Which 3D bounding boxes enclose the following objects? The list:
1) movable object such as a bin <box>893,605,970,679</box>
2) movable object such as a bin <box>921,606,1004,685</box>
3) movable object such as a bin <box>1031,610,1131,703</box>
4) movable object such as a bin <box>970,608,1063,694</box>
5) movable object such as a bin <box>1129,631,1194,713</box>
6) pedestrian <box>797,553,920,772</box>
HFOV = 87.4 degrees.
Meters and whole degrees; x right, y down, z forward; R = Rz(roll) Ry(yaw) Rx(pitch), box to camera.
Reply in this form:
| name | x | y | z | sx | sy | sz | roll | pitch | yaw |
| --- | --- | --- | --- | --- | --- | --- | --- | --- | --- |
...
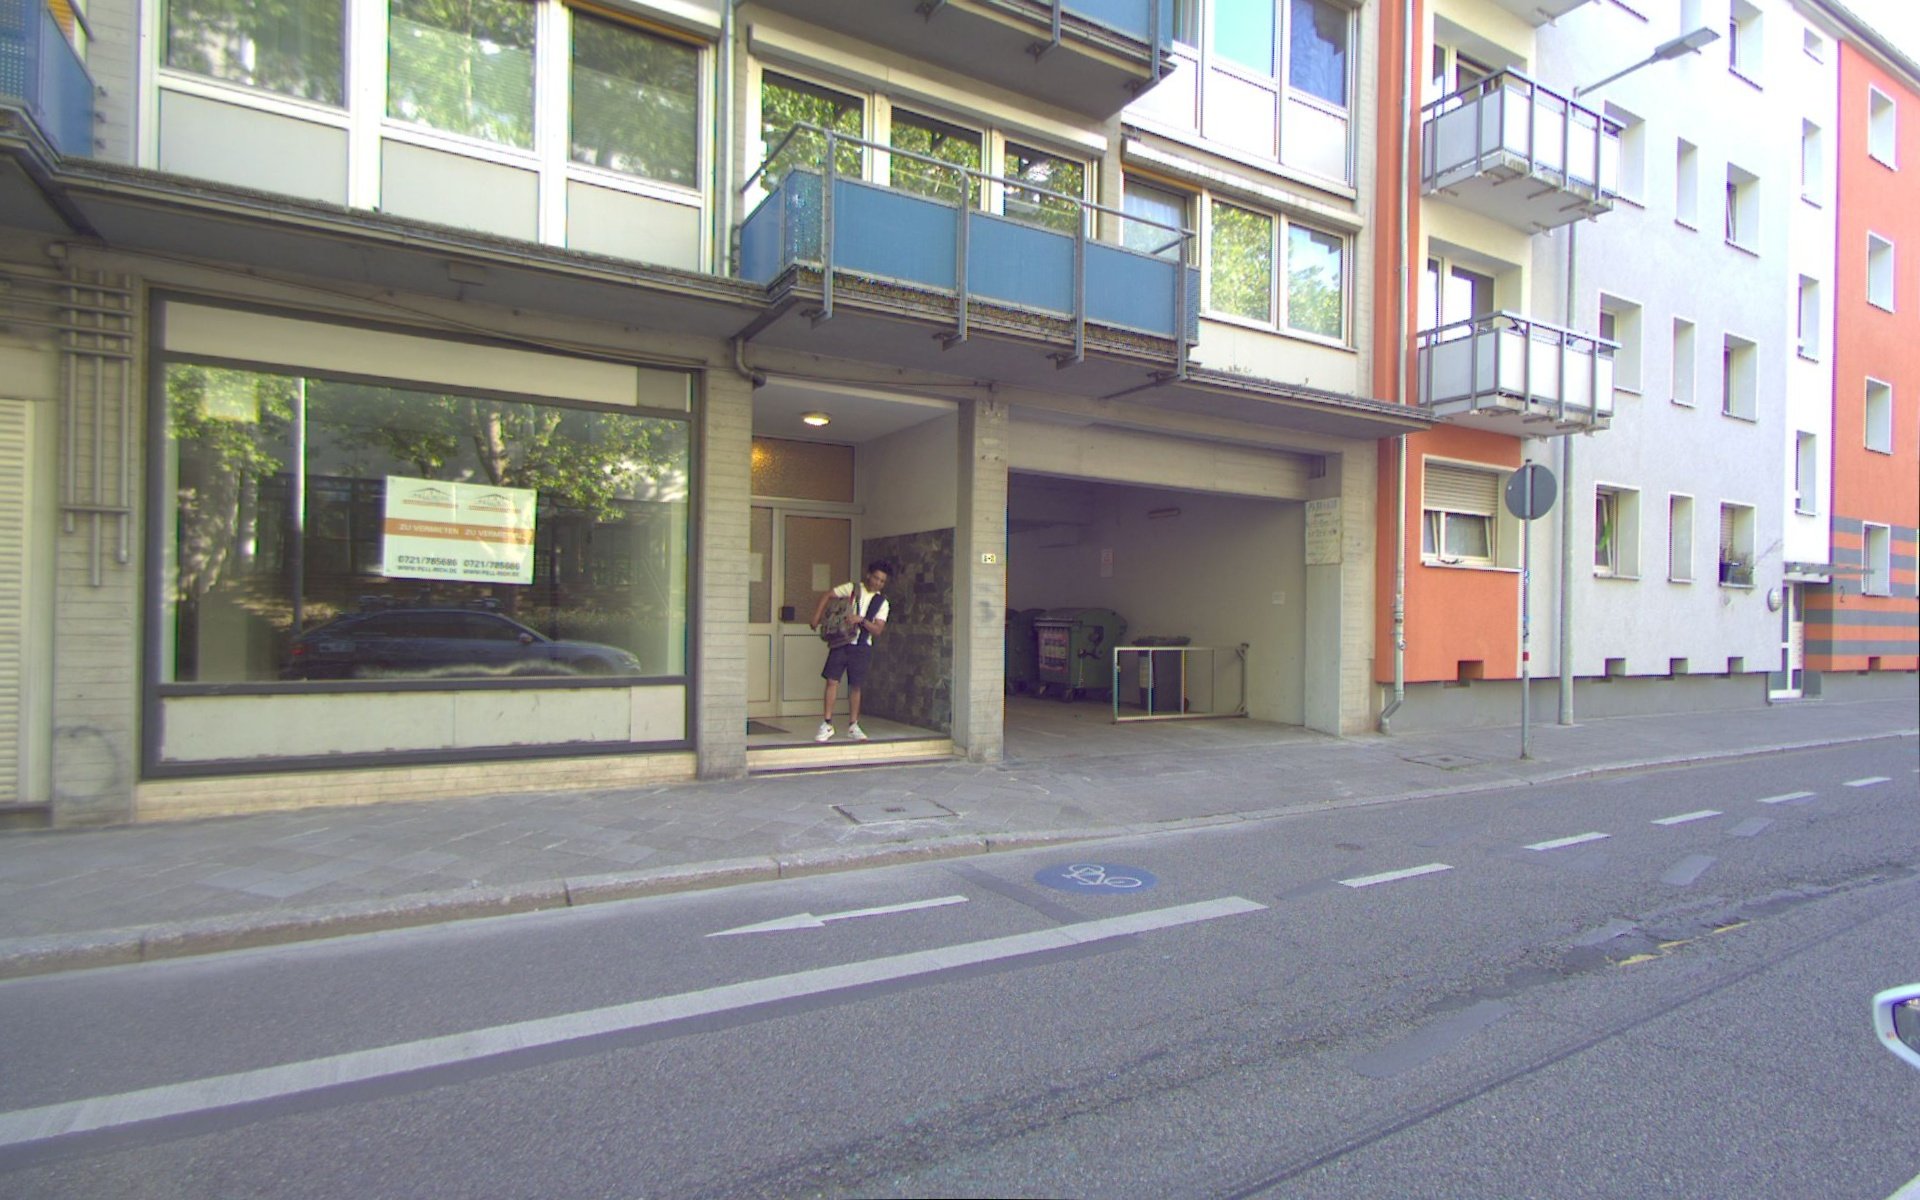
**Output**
| name | x | y | z | sx | sy | sz | roll | pitch | yaw |
| --- | --- | --- | --- | --- | --- | --- | --- | --- | --- |
| movable object such as a bin | -0.569 | 0.810 | 19.867 | 1.066 | 1.384 | 1.255 | 2 | 0 | -27 |
| movable object such as a bin | 0.040 | 0.824 | 18.698 | 1.066 | 1.384 | 1.255 | 2 | 0 | -27 |
| movable object such as a bin | 1.893 | 0.866 | 15.815 | 1.066 | 1.384 | 1.192 | 2 | 0 | -27 |
| movable object such as a bin | 0.951 | 0.844 | 17.129 | 1.066 | 1.384 | 1.255 | 2 | 0 | -27 |
| movable object such as a bin | 2.893 | 1.025 | 14.464 | 0.650 | 1.115 | 0.626 | 2 | 0 | -27 |
| pedestrian | -0.944 | 0.552 | 9.257 | 0.882 | 1.902 | 0.703 | 2 | 0 | -28 |
